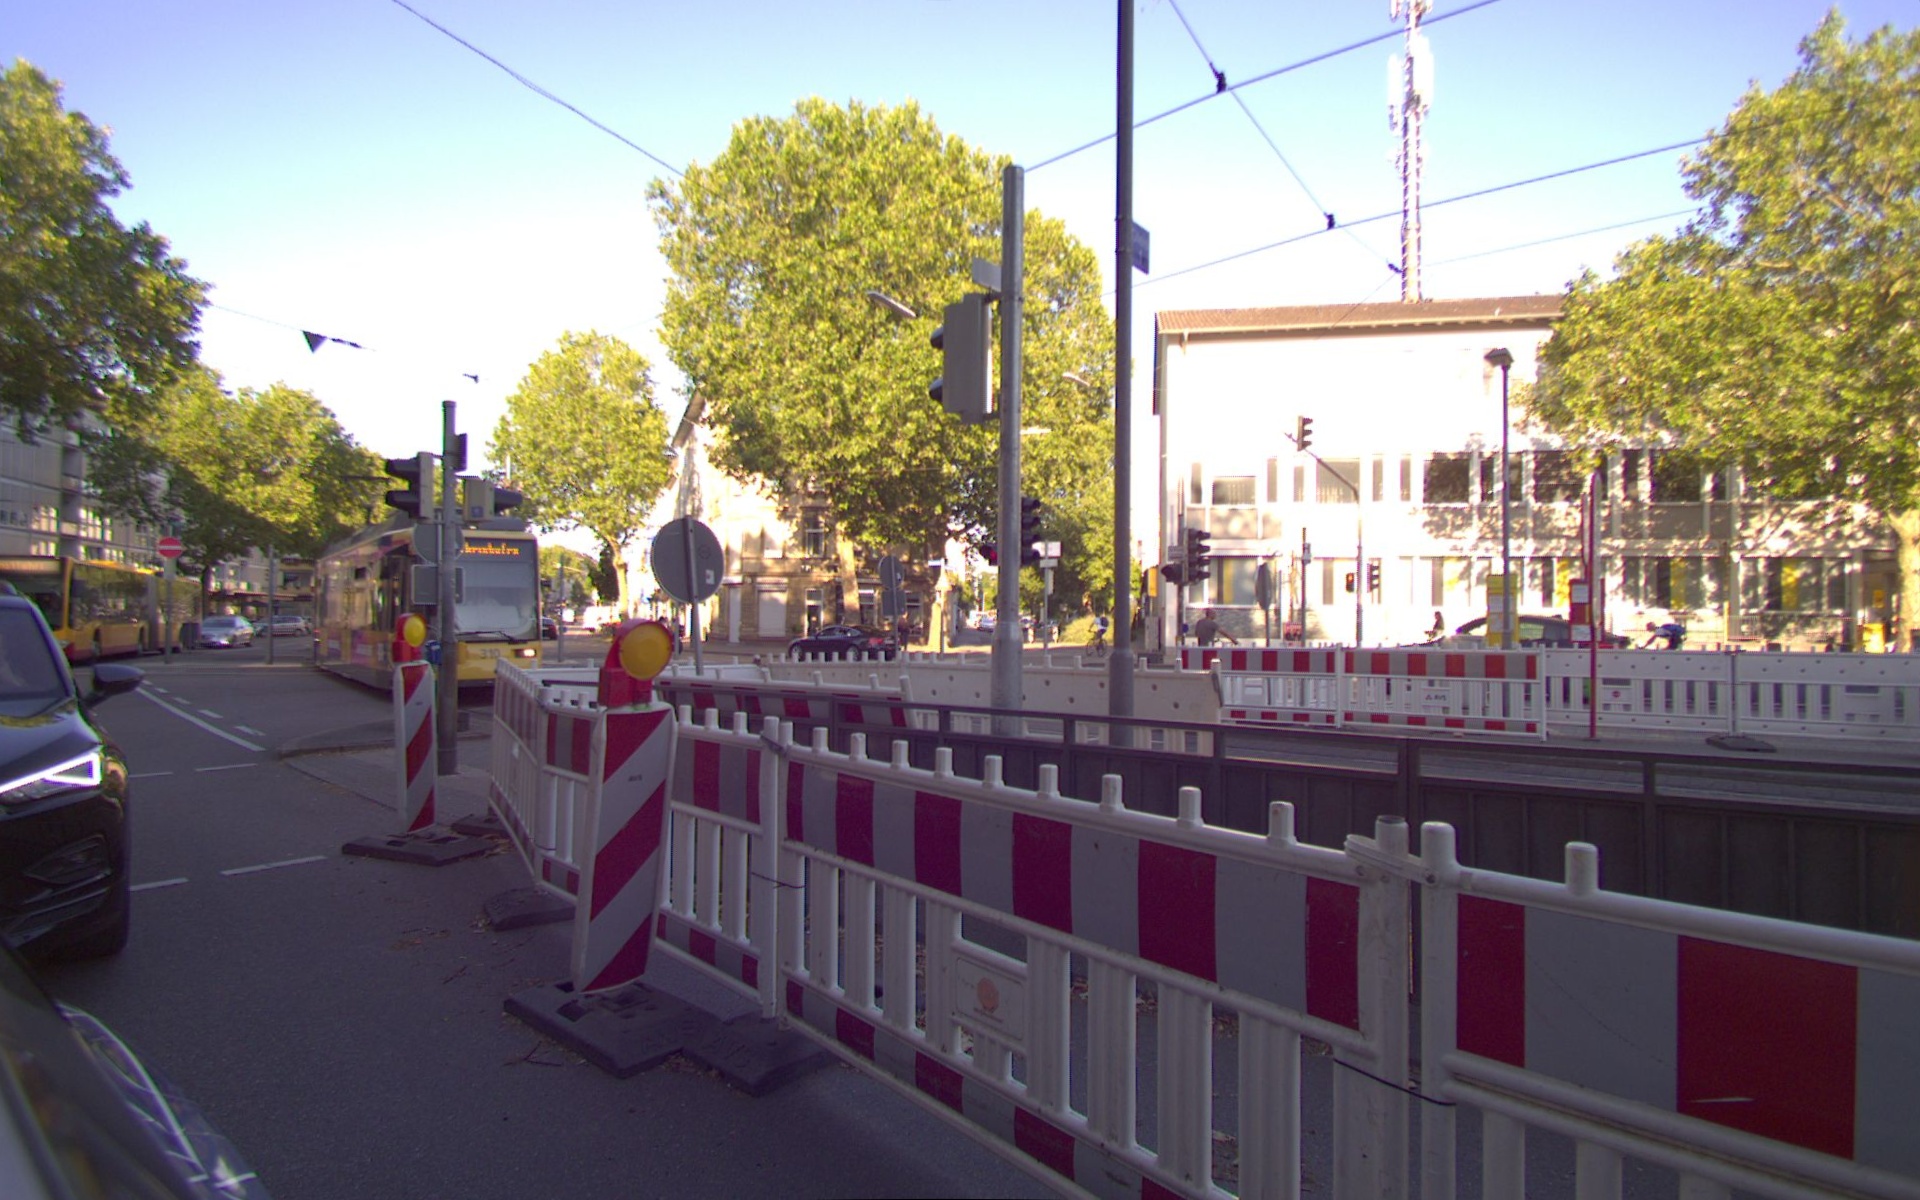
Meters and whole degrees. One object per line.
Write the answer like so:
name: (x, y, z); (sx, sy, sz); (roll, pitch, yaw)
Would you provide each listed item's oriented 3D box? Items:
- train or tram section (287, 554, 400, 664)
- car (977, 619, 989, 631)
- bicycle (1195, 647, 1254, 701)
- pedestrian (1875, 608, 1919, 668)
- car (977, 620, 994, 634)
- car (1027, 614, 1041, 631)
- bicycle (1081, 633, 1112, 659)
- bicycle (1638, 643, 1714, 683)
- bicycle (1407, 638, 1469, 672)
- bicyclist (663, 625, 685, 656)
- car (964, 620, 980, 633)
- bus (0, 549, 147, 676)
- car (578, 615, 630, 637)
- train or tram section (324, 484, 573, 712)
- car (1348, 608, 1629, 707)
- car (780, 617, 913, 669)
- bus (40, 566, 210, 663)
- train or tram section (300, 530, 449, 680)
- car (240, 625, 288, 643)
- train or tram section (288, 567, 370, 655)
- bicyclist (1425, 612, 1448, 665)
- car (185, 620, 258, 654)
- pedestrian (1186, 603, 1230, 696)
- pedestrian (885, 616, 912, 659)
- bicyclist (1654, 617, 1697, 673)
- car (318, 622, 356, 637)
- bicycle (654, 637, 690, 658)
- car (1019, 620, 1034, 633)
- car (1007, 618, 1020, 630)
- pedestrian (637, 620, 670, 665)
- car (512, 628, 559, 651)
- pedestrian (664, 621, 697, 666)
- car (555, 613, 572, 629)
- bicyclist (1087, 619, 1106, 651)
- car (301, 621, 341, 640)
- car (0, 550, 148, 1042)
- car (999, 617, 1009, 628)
train or tram section: (-22.901, 0.378, 37.299); (2.832, 3.514, 10.364); (1, -1, -35)
car: (3.864, 4.262, 170.933); (1.828, 2.031, 3.994); (0, -1, 4)
bicycle: (5.084, 1.397, 19.376); (1.558, 0.973, 0.322); (1, -2, -44)
pedestrian: (27.767, 1.109, 29.806); (0.875, 1.742, 0.805); (0, -1, 10)
car: (2.910, 3.087, 115.149); (1.705, 1.505, 3.994); (0, -1, 4)
car: (9.926, 3.020, 135.646); (1.828, 2.160, 3.994); (0, -1, 4)
bicycle: (5.178, 1.739, 38.485); (0.405, 0.974, 1.467); (1, -2, -27)
bicycle: (17.059, 1.495, 24.141); (1.463, 0.902, 0.457); (-1, -2, 37)
bicycle: (12.957, 1.486, 27.473); (1.463, 0.902, 0.457); (-1, -2, 37)
bicyclist: (-12.383, 1.736, 43.788); (0.804, 1.304, 0.554); (-1, -2, 38)
car: (1.463, 3.113, 119.900); (1.705, 1.505, 3.994); (0, -1, 4)
bus: (-26.077, 0.390, 29.170); (2.708, 3.127, 9.525); (1, -2, -31)
car: (-34.064, 2.465, 96.846); (1.895, 1.991, 4.604); (-1, -2, 29)
train or tram section: (-10.804, 0.050, 20.579); (2.779, 3.514, 10.361); (1, -1, -37)
car: (10.032, 1.014, 19.355); (4.576, 1.679, 1.878); (-1, 0, 35)
car: (-4.041, 1.474, 35.783); (4.576, 1.679, 1.878); (-1, 0, 35)
bus: (-30.603, 0.567, 37.574); (2.707, 3.127, 9.527); (1, -2, -26)
train or tram section: (-16.964, 0.203, 28.878); (2.797, 3.514, 10.364); (1, -1, -35)
car: (-50.884, 2.458, 74.021); (1.198, 1.226, 2.599); (0, -1, 34)
train or tram section: (-28.653, 0.539, 45.702); (2.797, 3.514, 10.366); (1, -1, -34)
bicyclist: (12.945, 1.044, 27.490); (0.463, 1.407, 0.457); (-1, -2, 36)
car: (-34.728, 1.705, 47.699); (1.880, 1.486, 4.433); (1, -1, -24)
pedestrian: (4.858, 0.959, 19.828); (0.588, 1.772, 0.597); (1, -2, -43)
pedestrian: (-2.574, 1.553, 42.387); (0.801, 1.769, 0.787); (-1, -2, 41)
bicyclist: (17.067, 1.069, 24.143); (0.807, 1.307, 0.457); (-1, -2, 36)
car: (-54.908, 2.550, 89.166); (1.201, 1.290, 2.592); (0, -1, 43)
bicycle: (-12.465, 2.069, 43.842); (1.799, 0.869, 0.554); (-1, -2, 38)
car: (7.901, 3.137, 120.494); (1.705, 1.505, 3.994); (0, -1, 4)
car: (7.114, 3.213, 134.487); (1.705, 1.505, 3.994); (0, -2, 4)
pedestrian: (-10.414, 1.432, 34.401); (0.794, 1.520, 0.794); (0, -1, 12)
car: (-28.355, 2.644, 67.553); (1.967, 1.459, 4.549); (1, -3, -34)
pedestrian: (-9.531, 1.469, 34.500); (0.795, 1.520, 0.793); (0, -2, 17)
car: (-55.745, 2.940, 142.396); (2.131, 2.138, 4.994); (2, -2, -20)
bicyclist: (5.174, 1.333, 38.497); (0.405, 1.182, 0.665); (1, -2, -27)
car: (-52.344, 2.475, 82.913); (1.201, 1.484, 2.592); (0, -1, 43)
car: (-5.157, 0.699, 4.587); (4.300, 1.670, 1.823); (-1, -1, 45)
car: (8.474, 4.267, 194.077); (1.828, 2.031, 3.994); (0, -1, 4)
